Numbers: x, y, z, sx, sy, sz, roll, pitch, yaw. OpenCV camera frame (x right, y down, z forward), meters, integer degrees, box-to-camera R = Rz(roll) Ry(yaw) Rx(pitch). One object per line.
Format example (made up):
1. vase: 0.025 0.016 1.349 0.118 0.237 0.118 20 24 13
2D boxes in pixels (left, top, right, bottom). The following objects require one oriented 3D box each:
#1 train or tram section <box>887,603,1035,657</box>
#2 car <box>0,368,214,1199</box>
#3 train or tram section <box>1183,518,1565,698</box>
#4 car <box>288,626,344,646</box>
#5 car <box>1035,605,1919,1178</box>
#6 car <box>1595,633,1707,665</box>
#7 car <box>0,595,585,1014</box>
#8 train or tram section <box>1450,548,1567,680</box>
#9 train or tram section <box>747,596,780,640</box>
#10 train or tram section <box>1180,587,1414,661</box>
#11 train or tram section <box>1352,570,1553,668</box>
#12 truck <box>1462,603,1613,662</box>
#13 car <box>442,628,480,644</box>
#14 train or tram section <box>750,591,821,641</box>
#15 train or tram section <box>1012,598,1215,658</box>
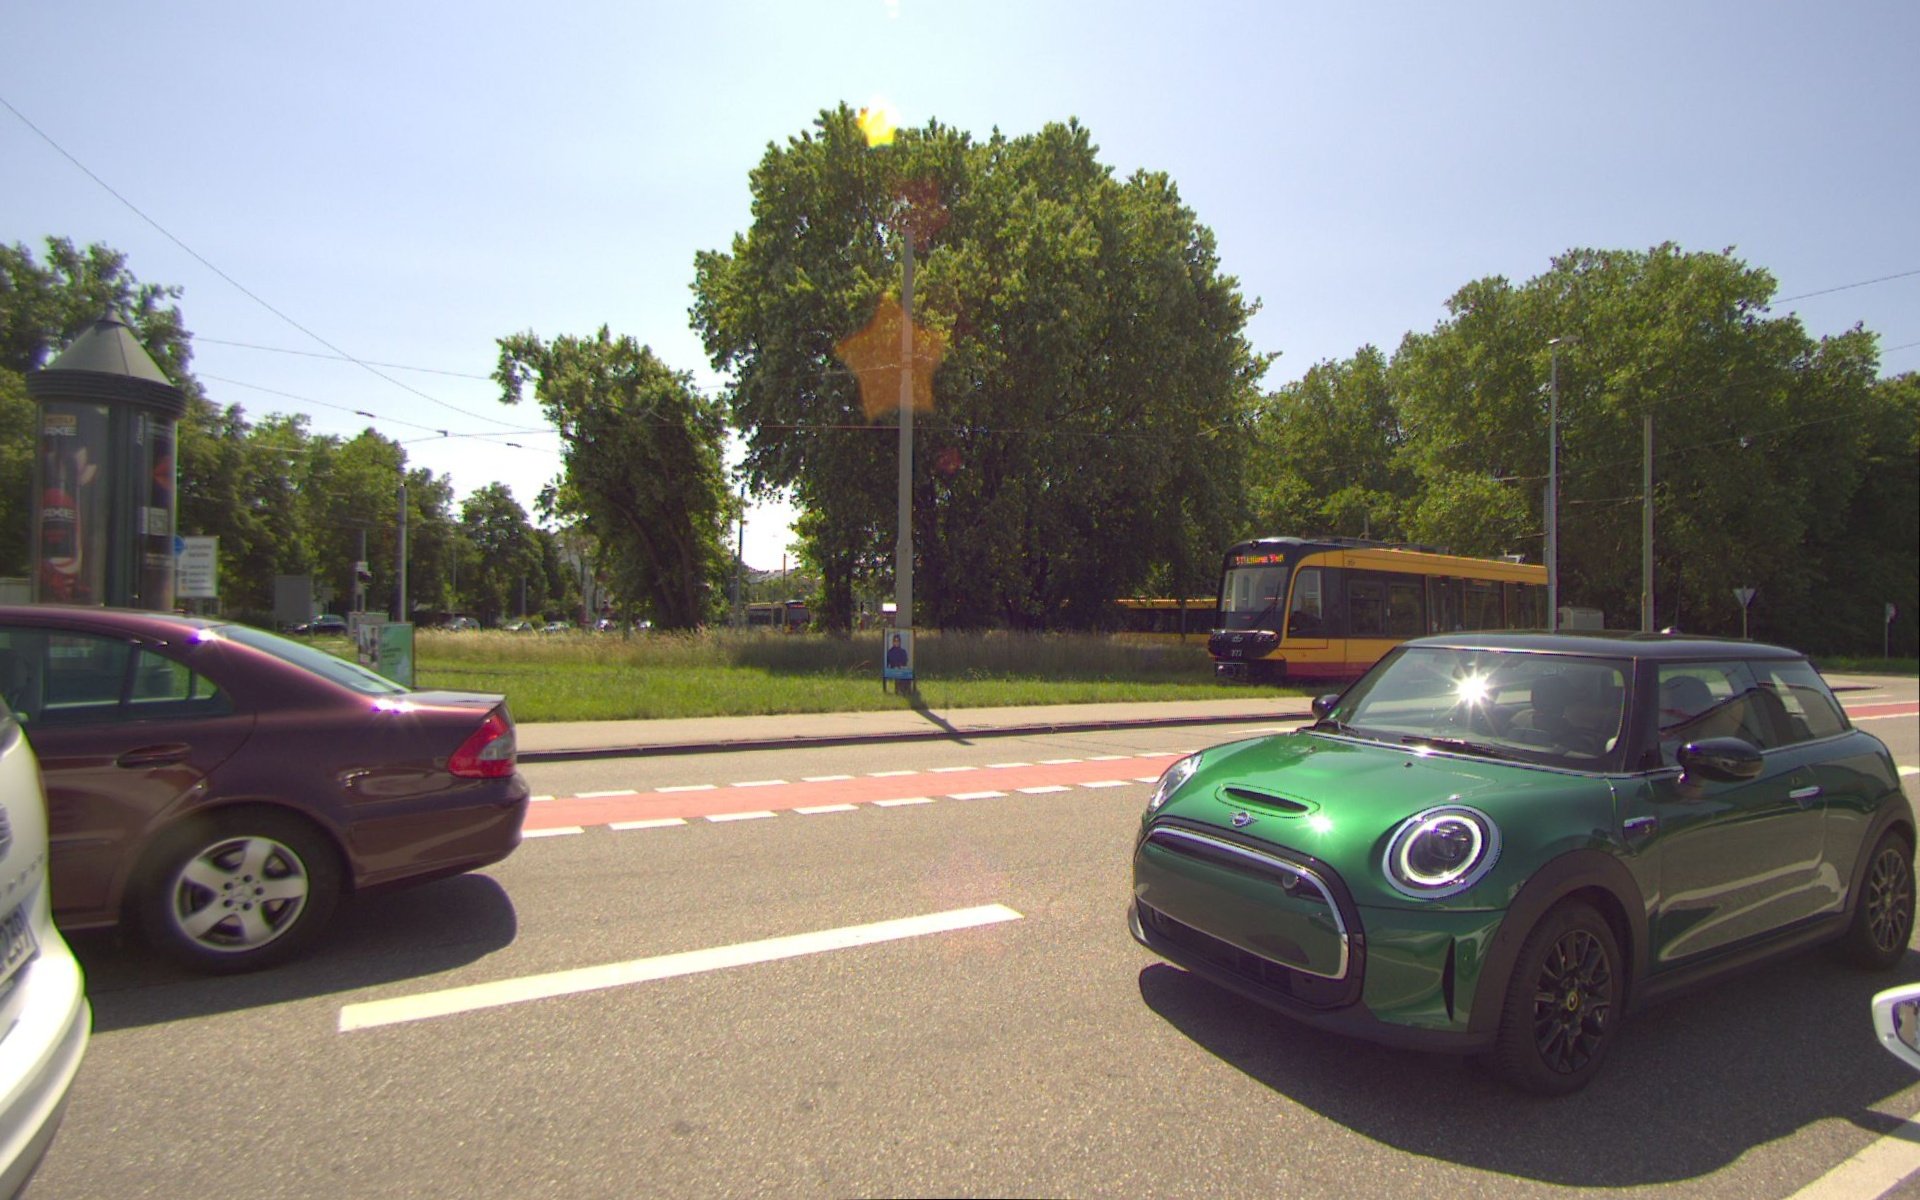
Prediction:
1. train or tram section: -0.076 2.303 75.454 11.243 3.808 3.019 -2 -2 32
2. car: -3.666 0.536 0.741 4.774 1.746 1.803 1 -1 -30
3. train or tram section: 11.309 0.336 26.283 12.869 3.808 2.996 1 -3 -36
4. car: -44.989 2.501 70.272 1.574 1.303 3.645 -2 -1 -1
5. car: 2.436 0.794 4.344 3.943 1.482 1.715 1 -1 -30
6. car: 33.182 2.323 48.358 1.642 1.435 4.293 3 -2 -20
7. car: -3.961 0.730 4.217 4.236 1.476 1.751 1 -1 -31
8. train or tram section: 18.836 0.628 34.711 2.971 3.808 11.602 -1 -2 28
9. train or tram section: -20.719 2.071 105.322 2.974 4.310 12.721 0 -2 -13
10. train or tram section: 19.066 1.540 58.552 2.994 3.808 14.065 1 -3 -33
11. train or tram section: 21.984 1.038 46.294 2.965 3.808 14.056 0 -2 3
12. truck: 31.428 1.772 55.056 2.528 2.948 7.311 2 -2 -19
13. car: -43.771 3.129 88.187 1.574 1.303 3.645 -2 -1 -1
14. train or tram section: -16.494 1.636 93.880 2.987 4.310 12.665 1 -2 -27
15. train or tram section: 10.115 1.997 68.357 13.972 3.808 3.014 -2 -3 38
